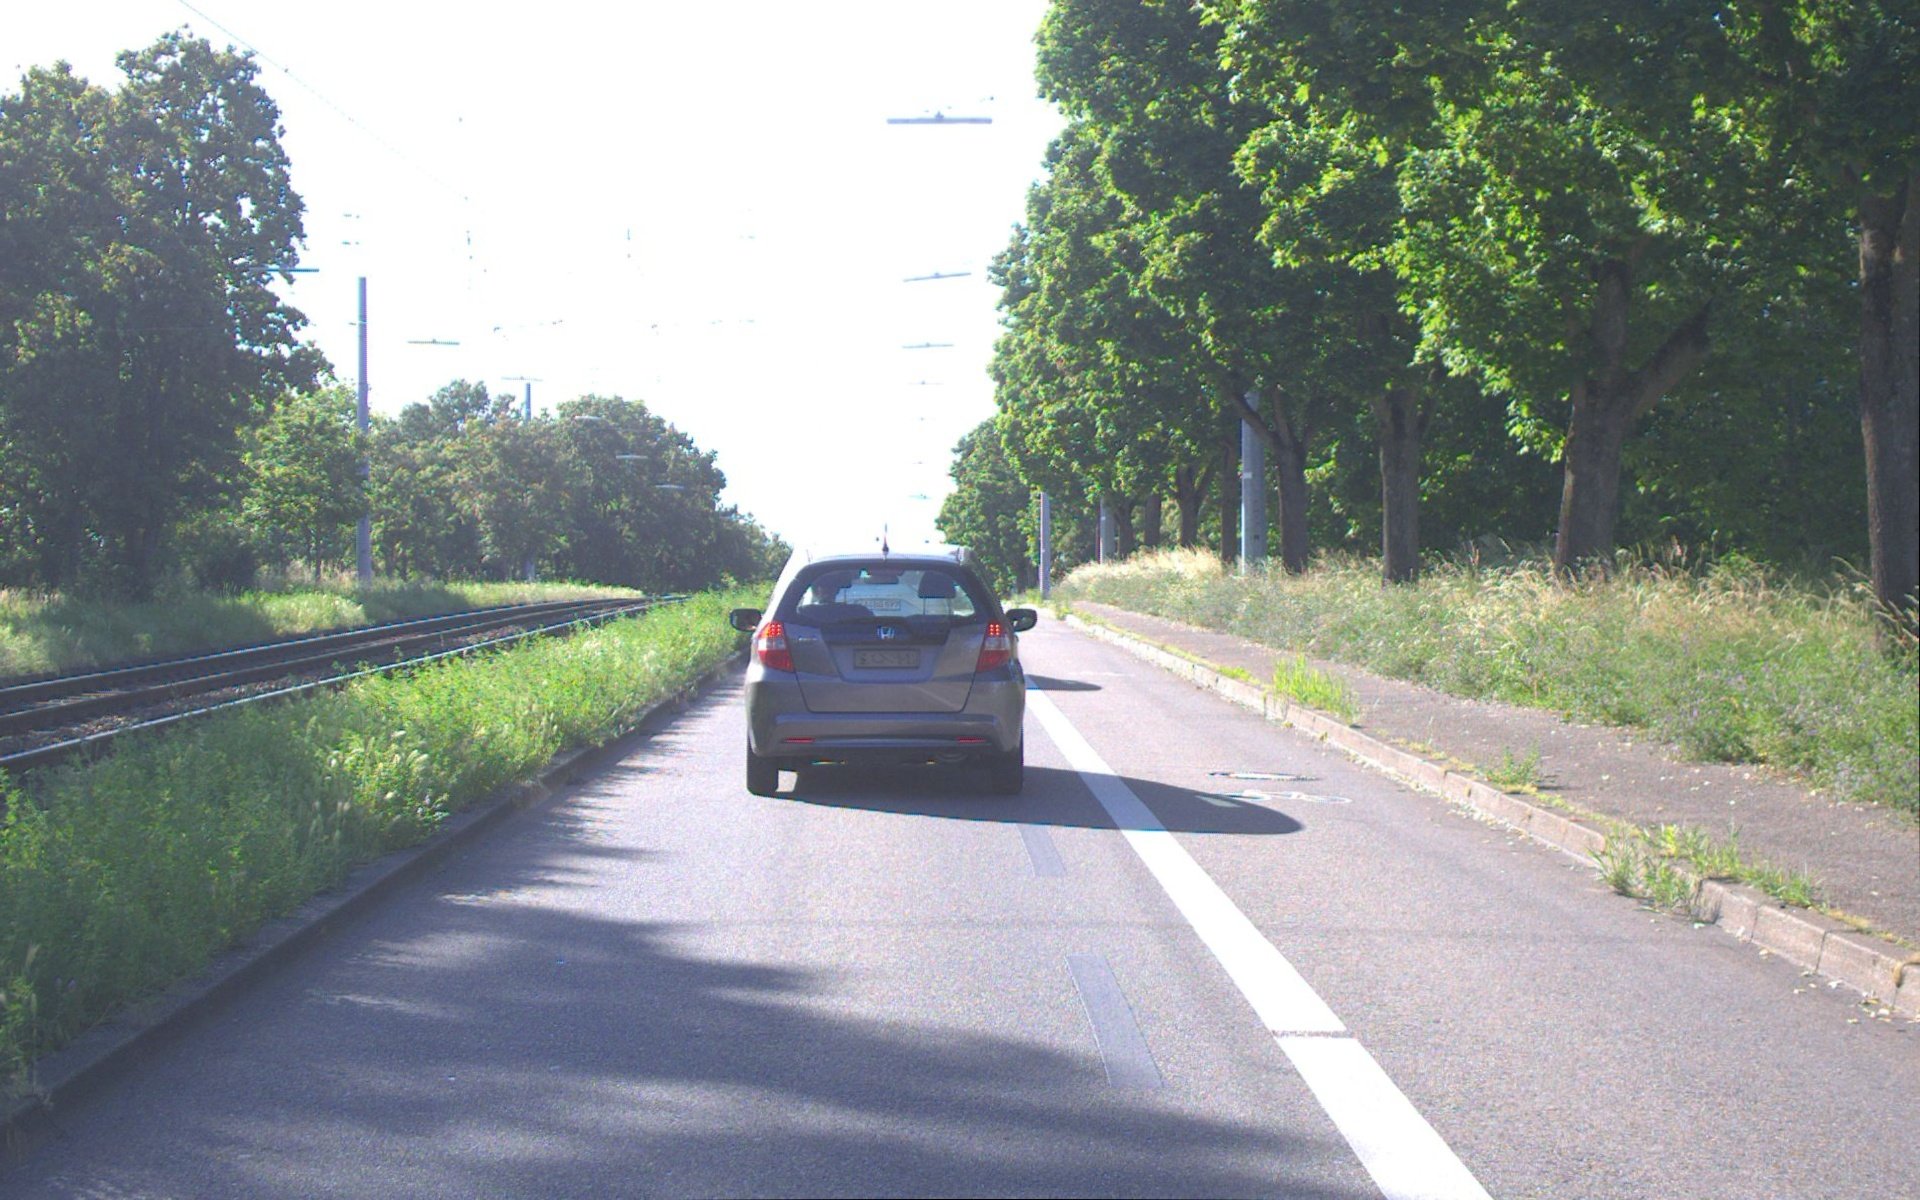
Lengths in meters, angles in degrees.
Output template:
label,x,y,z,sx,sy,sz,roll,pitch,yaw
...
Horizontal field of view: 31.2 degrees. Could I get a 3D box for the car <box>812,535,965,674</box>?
label,x,y,z,sx,sy,sz,roll,pitch,yaw
car,-0.794,0.028,39.769,1.654,1.502,3.811,1,1,0

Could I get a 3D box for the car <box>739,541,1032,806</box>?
label,x,y,z,sx,sy,sz,roll,pitch,yaw
car,-0.443,0.405,21.820,1.670,1.502,3.811,1,1,0
